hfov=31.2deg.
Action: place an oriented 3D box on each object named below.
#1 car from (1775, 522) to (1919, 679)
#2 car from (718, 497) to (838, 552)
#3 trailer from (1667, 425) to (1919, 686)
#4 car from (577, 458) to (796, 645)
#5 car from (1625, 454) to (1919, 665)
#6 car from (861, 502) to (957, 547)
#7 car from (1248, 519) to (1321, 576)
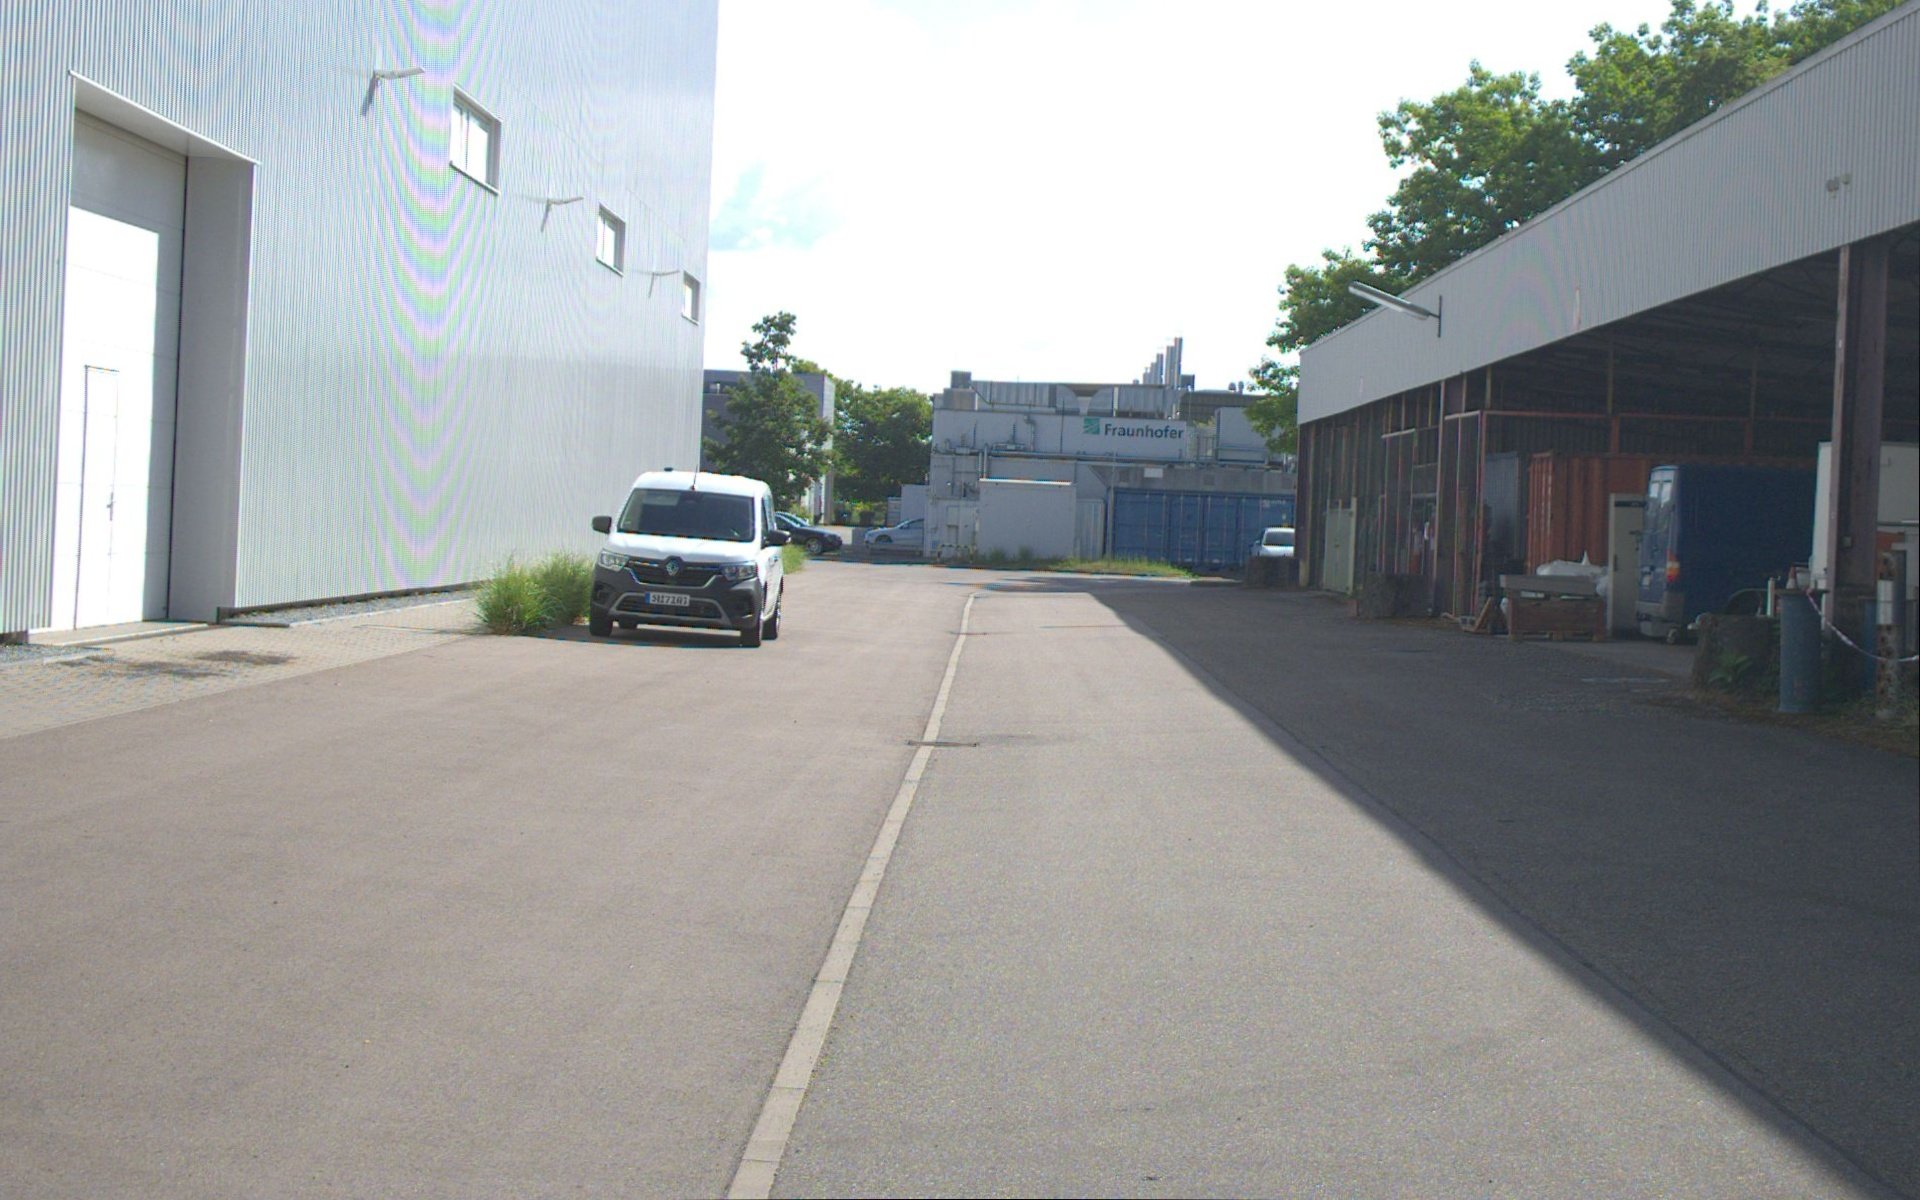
[{"bbox_3d":[10.721,0.111,35.737,4.038,1.519,1.684,4,-1,2],"label":"car"},{"bbox_3d":[-6.306,-2.607,119.462,3.987,1.592,1.742,4,-1,0],"label":"car"},{"bbox_3d":[8.358,-0.421,33.504,2.523,2.390,1.727,2,1,2],"label":"trailer"},{"bbox_3d":[-2.891,-0.561,37.182,1.819,1.781,4.405,4,2,1],"label":"car"},{"bbox_3d":[10.625,-0.446,42.250,4.433,2.301,1.915,4,-1,2],"label":"car"},{"bbox_3d":[-2.175,-3.214,147.263,3.987,1.592,1.848,4,-1,0],"label":"car"},{"bbox_3d":[10.048,-1.655,106.741,1.962,1.559,4.059,4,2,3],"label":"car"}]
